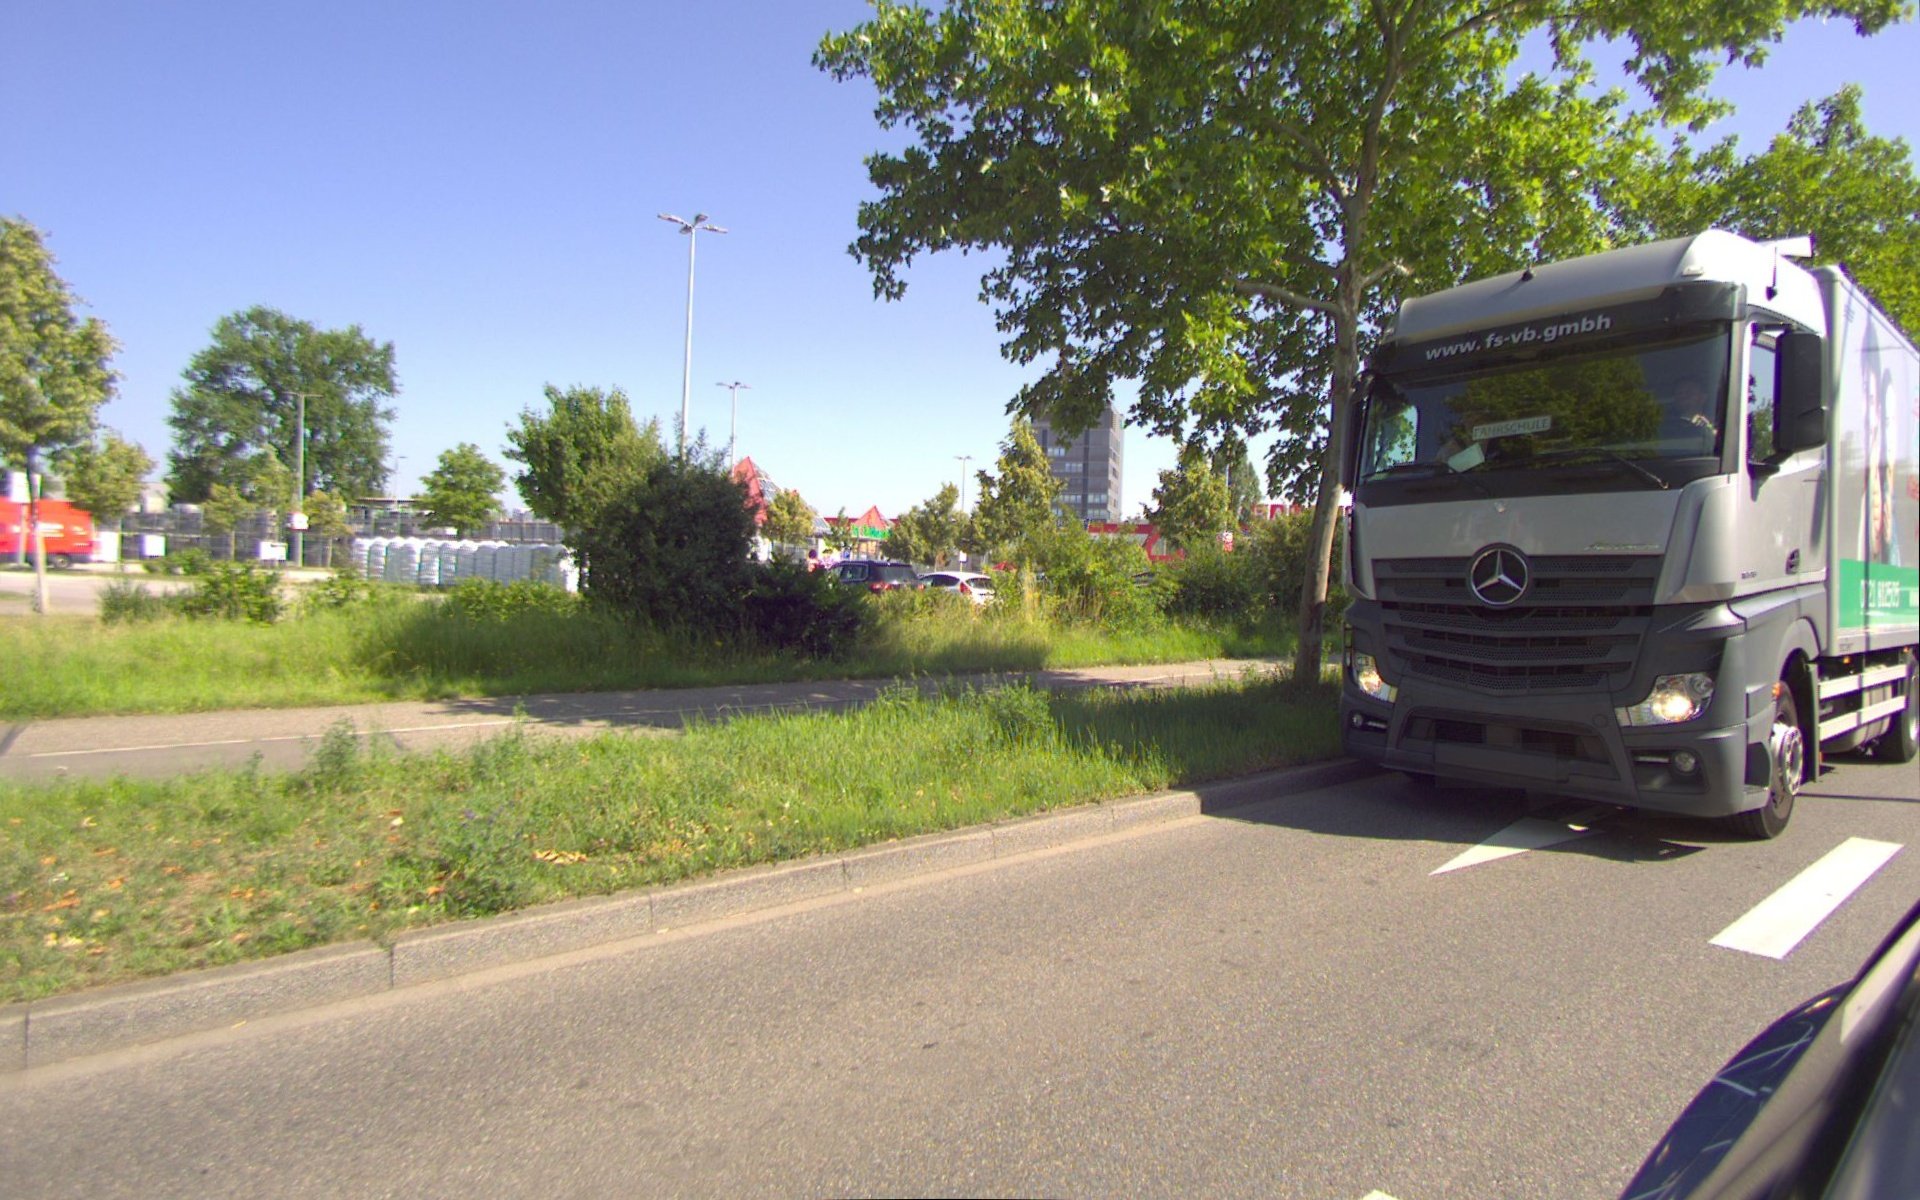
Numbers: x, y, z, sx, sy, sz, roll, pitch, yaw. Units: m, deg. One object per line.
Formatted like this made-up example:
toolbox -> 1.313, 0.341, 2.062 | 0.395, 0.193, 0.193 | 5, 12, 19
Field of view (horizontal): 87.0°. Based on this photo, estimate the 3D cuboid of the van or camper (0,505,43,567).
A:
van or camper -> -48.860, -3.179, 48.591 | 1.971, 2.979, 7.253 | 0, 0, 15

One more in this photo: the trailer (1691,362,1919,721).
trailer -> 13.034, -0.697, 14.026 | 7.596, 3.925, 2.743 | -1, 2, -39

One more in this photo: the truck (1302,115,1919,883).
truck -> 6.701, -0.586, 8.937 | 8.564, 3.938, 2.737 | -1, 2, -38

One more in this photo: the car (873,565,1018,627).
car -> -0.466, -0.120, 28.425 | 1.850, 1.611, 4.075 | -1, 0, -43

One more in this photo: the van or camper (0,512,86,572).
van or camper -> -45.428, -2.725, 47.179 | 1.971, 2.739, 7.253 | 0, 0, 15

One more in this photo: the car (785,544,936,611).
car -> -2.658, -0.554, 26.475 | 1.850, 1.611, 4.075 | -1, 0, -43
